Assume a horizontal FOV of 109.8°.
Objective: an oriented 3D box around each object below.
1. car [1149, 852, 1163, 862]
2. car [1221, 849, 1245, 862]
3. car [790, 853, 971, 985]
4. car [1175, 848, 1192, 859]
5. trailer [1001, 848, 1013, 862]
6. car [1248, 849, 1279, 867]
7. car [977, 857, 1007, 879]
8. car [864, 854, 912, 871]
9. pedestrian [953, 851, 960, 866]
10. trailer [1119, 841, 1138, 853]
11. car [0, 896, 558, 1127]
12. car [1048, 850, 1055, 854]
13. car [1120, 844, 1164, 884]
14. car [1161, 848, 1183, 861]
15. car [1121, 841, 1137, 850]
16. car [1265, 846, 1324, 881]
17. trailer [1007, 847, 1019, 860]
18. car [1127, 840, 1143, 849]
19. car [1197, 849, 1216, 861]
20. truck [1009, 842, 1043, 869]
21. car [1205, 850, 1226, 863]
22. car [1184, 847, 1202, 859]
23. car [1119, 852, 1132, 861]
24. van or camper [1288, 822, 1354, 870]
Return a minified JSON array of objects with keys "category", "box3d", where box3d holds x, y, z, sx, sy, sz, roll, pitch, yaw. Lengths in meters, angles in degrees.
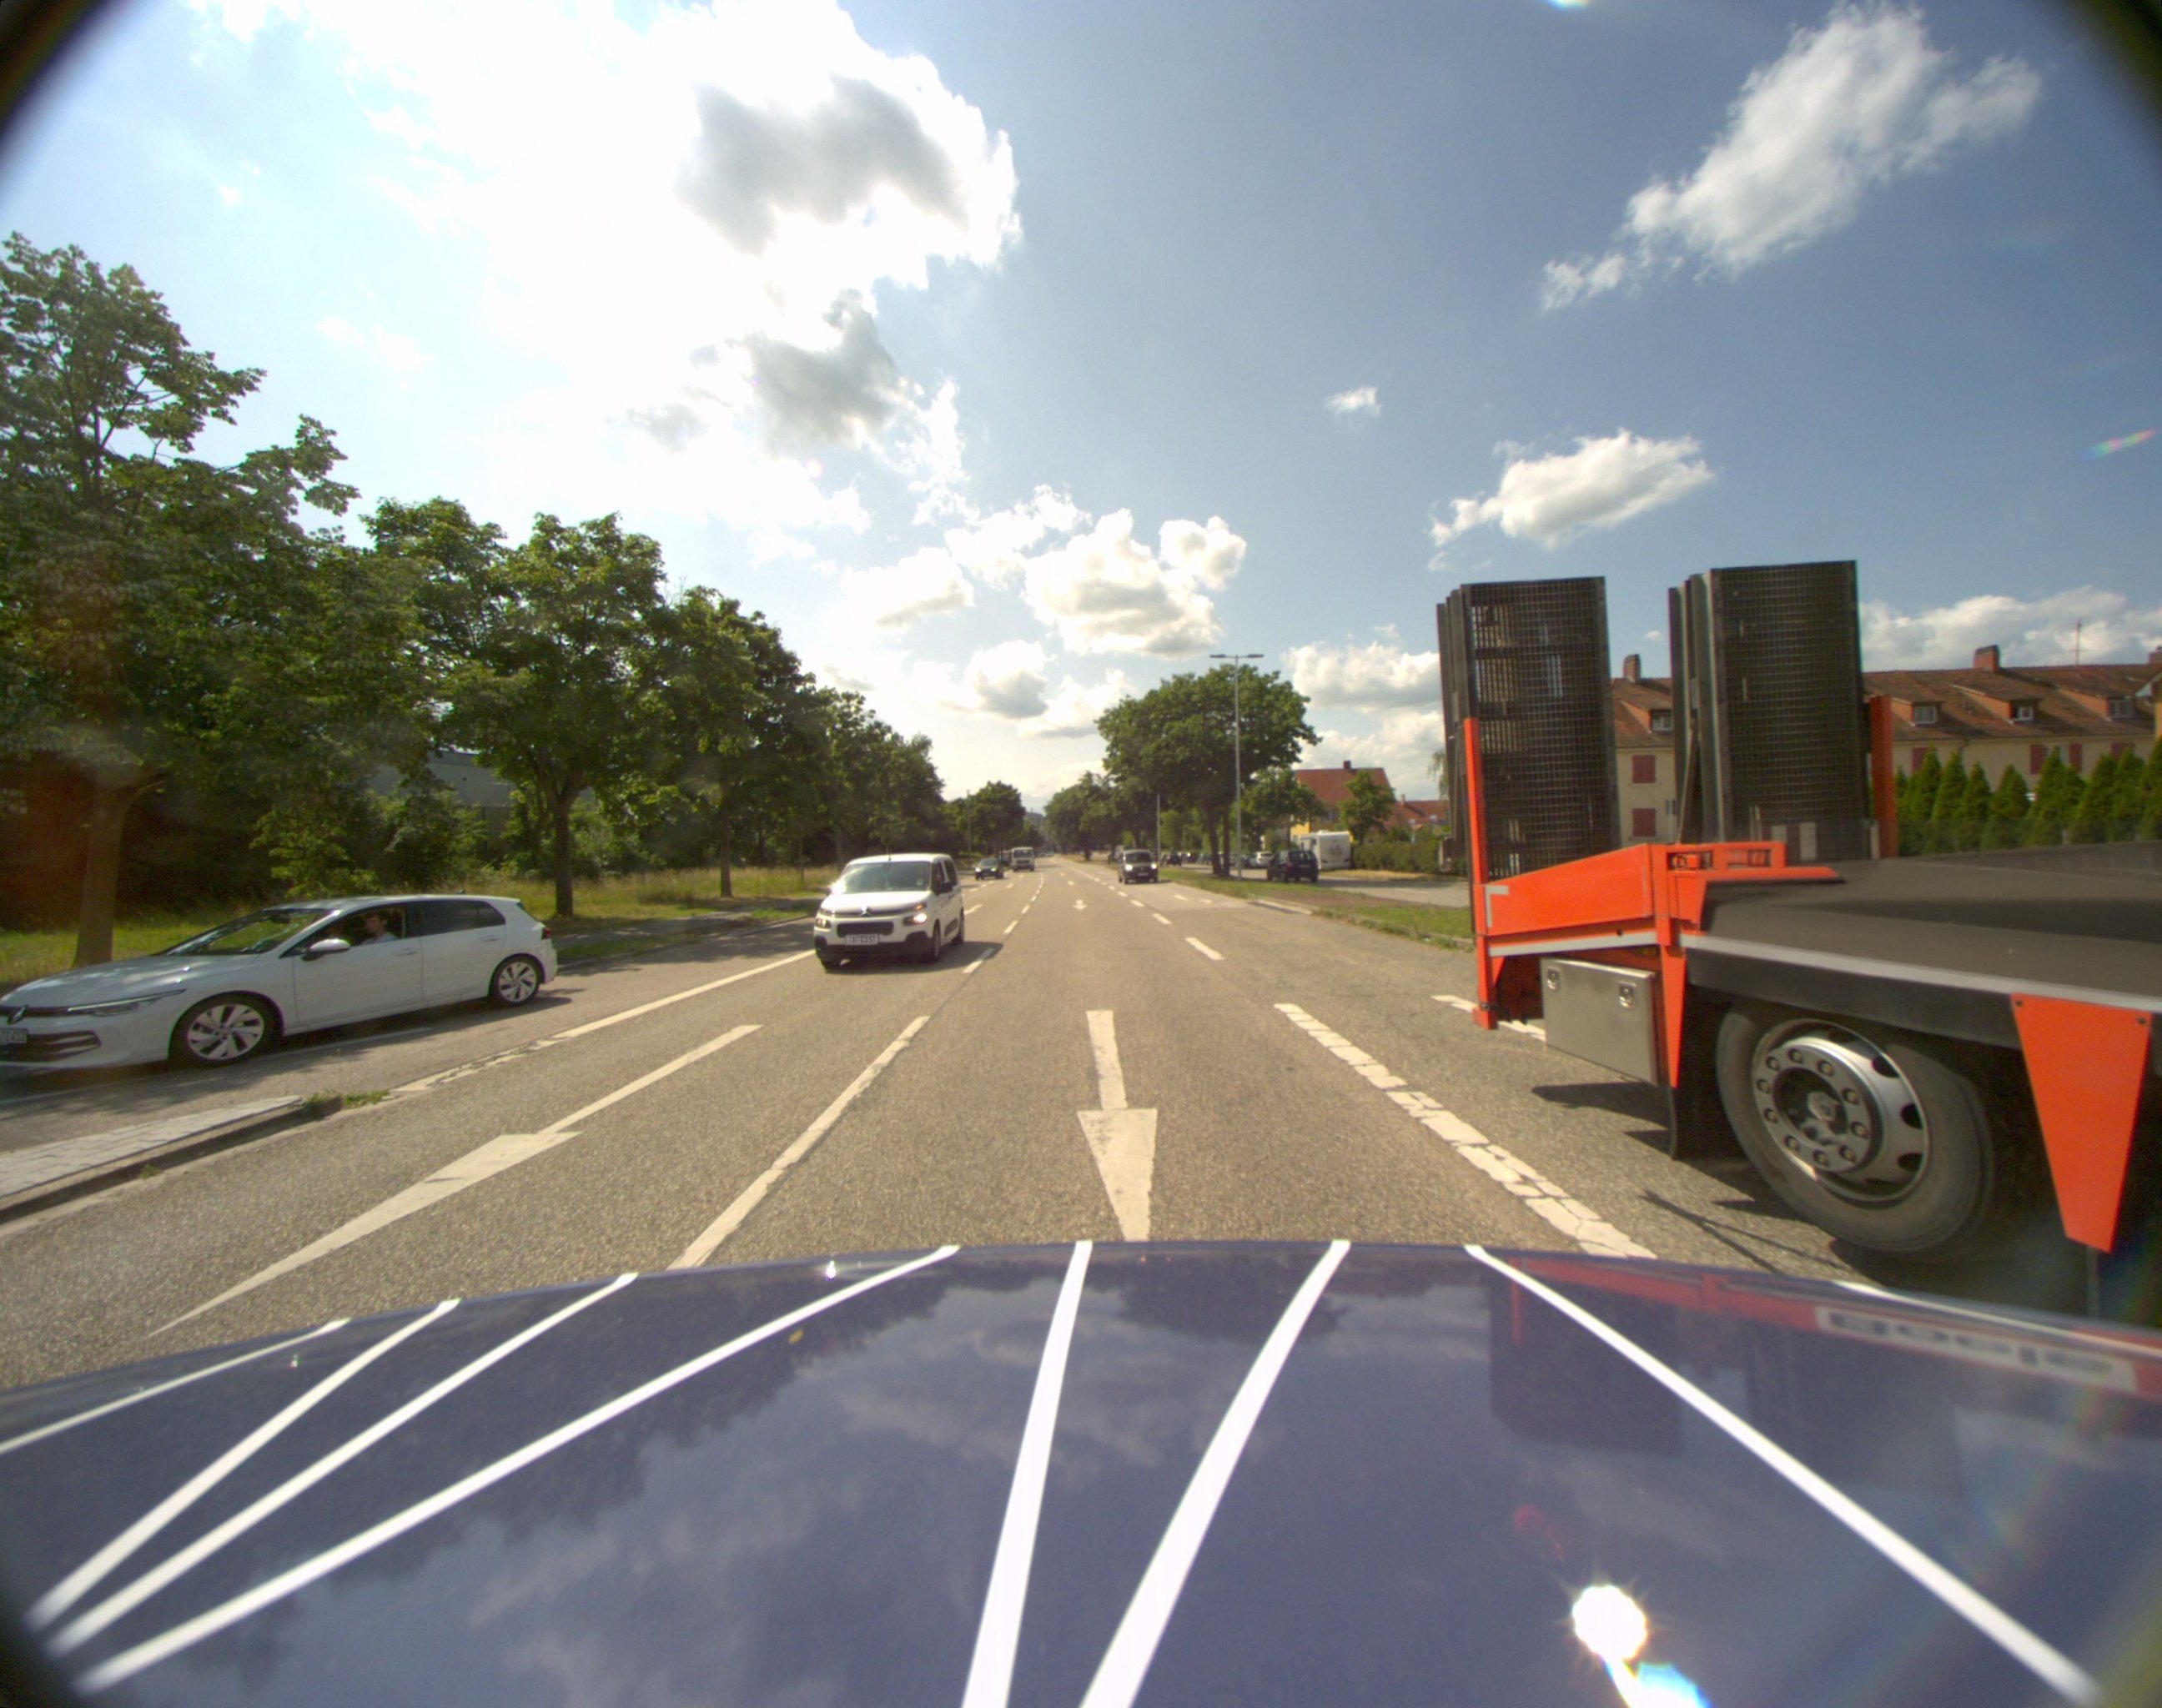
[{"category":"car","box3d":[13.600,0.501,137.372,1.772,1.543,3.998,-4,1,-4]},{"category":"car","box3d":[16.422,0.137,82.161,1.515,1.362,4.530,-4,0,-1]},{"category":"car","box3d":[-3.205,0.928,13.256,1.936,1.775,4.714,-4,0,-2]},{"category":"car","box3d":[15.263,-0.123,113.134,1.665,1.443,3.845,-4,1,-4]},{"category":"trailer","box3d":[-12.508,0.135,128.918,1.958,2.338,4.603,0,1,-5]},{"category":"car","box3d":[16.891,0.330,70.458,1.693,1.477,4.122,-4,1,-1]},{"category":"car","box3d":[-7.075,1.104,60.585,1.758,1.482,3.999,-3,1,1]},{"category":"car","box3d":[-18.196,0.847,71.781,4.176,1.484,1.783,1,-1,-8]},{"category":"pedestrian","box3d":[-15.104,0.571,92.338,0.719,1.784,0.739,-4,2,-4]},{"category":"trailer","box3d":[13.469,-2.088,215.152,2.821,3.090,5.763,-3,1,35]},{"category":"car","box3d":[-8.011,1.326,7.900,1.735,1.477,4.096,-2,0,12]},{"category":"car","box3d":[-9.321,-0.693,240.872,1.892,1.281,3.998,-4,1,-4]},{"category":"car","box3d":[3.192,0.476,40.361,1.768,1.893,4.539,-4,1,-1]},{"category":"car","box3d":[10.314,0.050,86.353,1.776,1.430,4.574,-1,1,-2]},{"category":"car","box3d":[12.490,-2.304,198.156,1.800,2.002,4.007,-2,2,44]},{"category":"car","box3d":[10.745,0.447,38.471,1.799,1.679,3.999,-1,1,-1]},{"category":"trailer","box3d":[-13.402,-0.139,149.715,1.999,2.352,4.779,2,1,-3]},{"category":"car","box3d":[13.546,-2.289,190.467,1.800,2.002,4.007,-2,2,44]},{"category":"car","box3d":[16.020,0.158,97.063,1.567,1.387,3.475,-4,1,-3]},{"category":"truck","box3d":[-5.921,0.084,82.849,2.848,2.649,7.350,-3,1,1]},{"category":"car","box3d":[16.362,0.273,92.617,1.406,1.387,4.355,-4,1,-3]},{"category":"car","box3d":[15.509,-0.154,105.432,1.665,1.473,4.102,-4,0,-4]},{"category":"car","box3d":[8.250,0.495,140.706,1.737,1.499,4.650,2,1,-3]},{"category":"van or camper","box3d":[17.261,-0.530,55.121,2.265,3.094,7.319,-4,0,-1]}]
